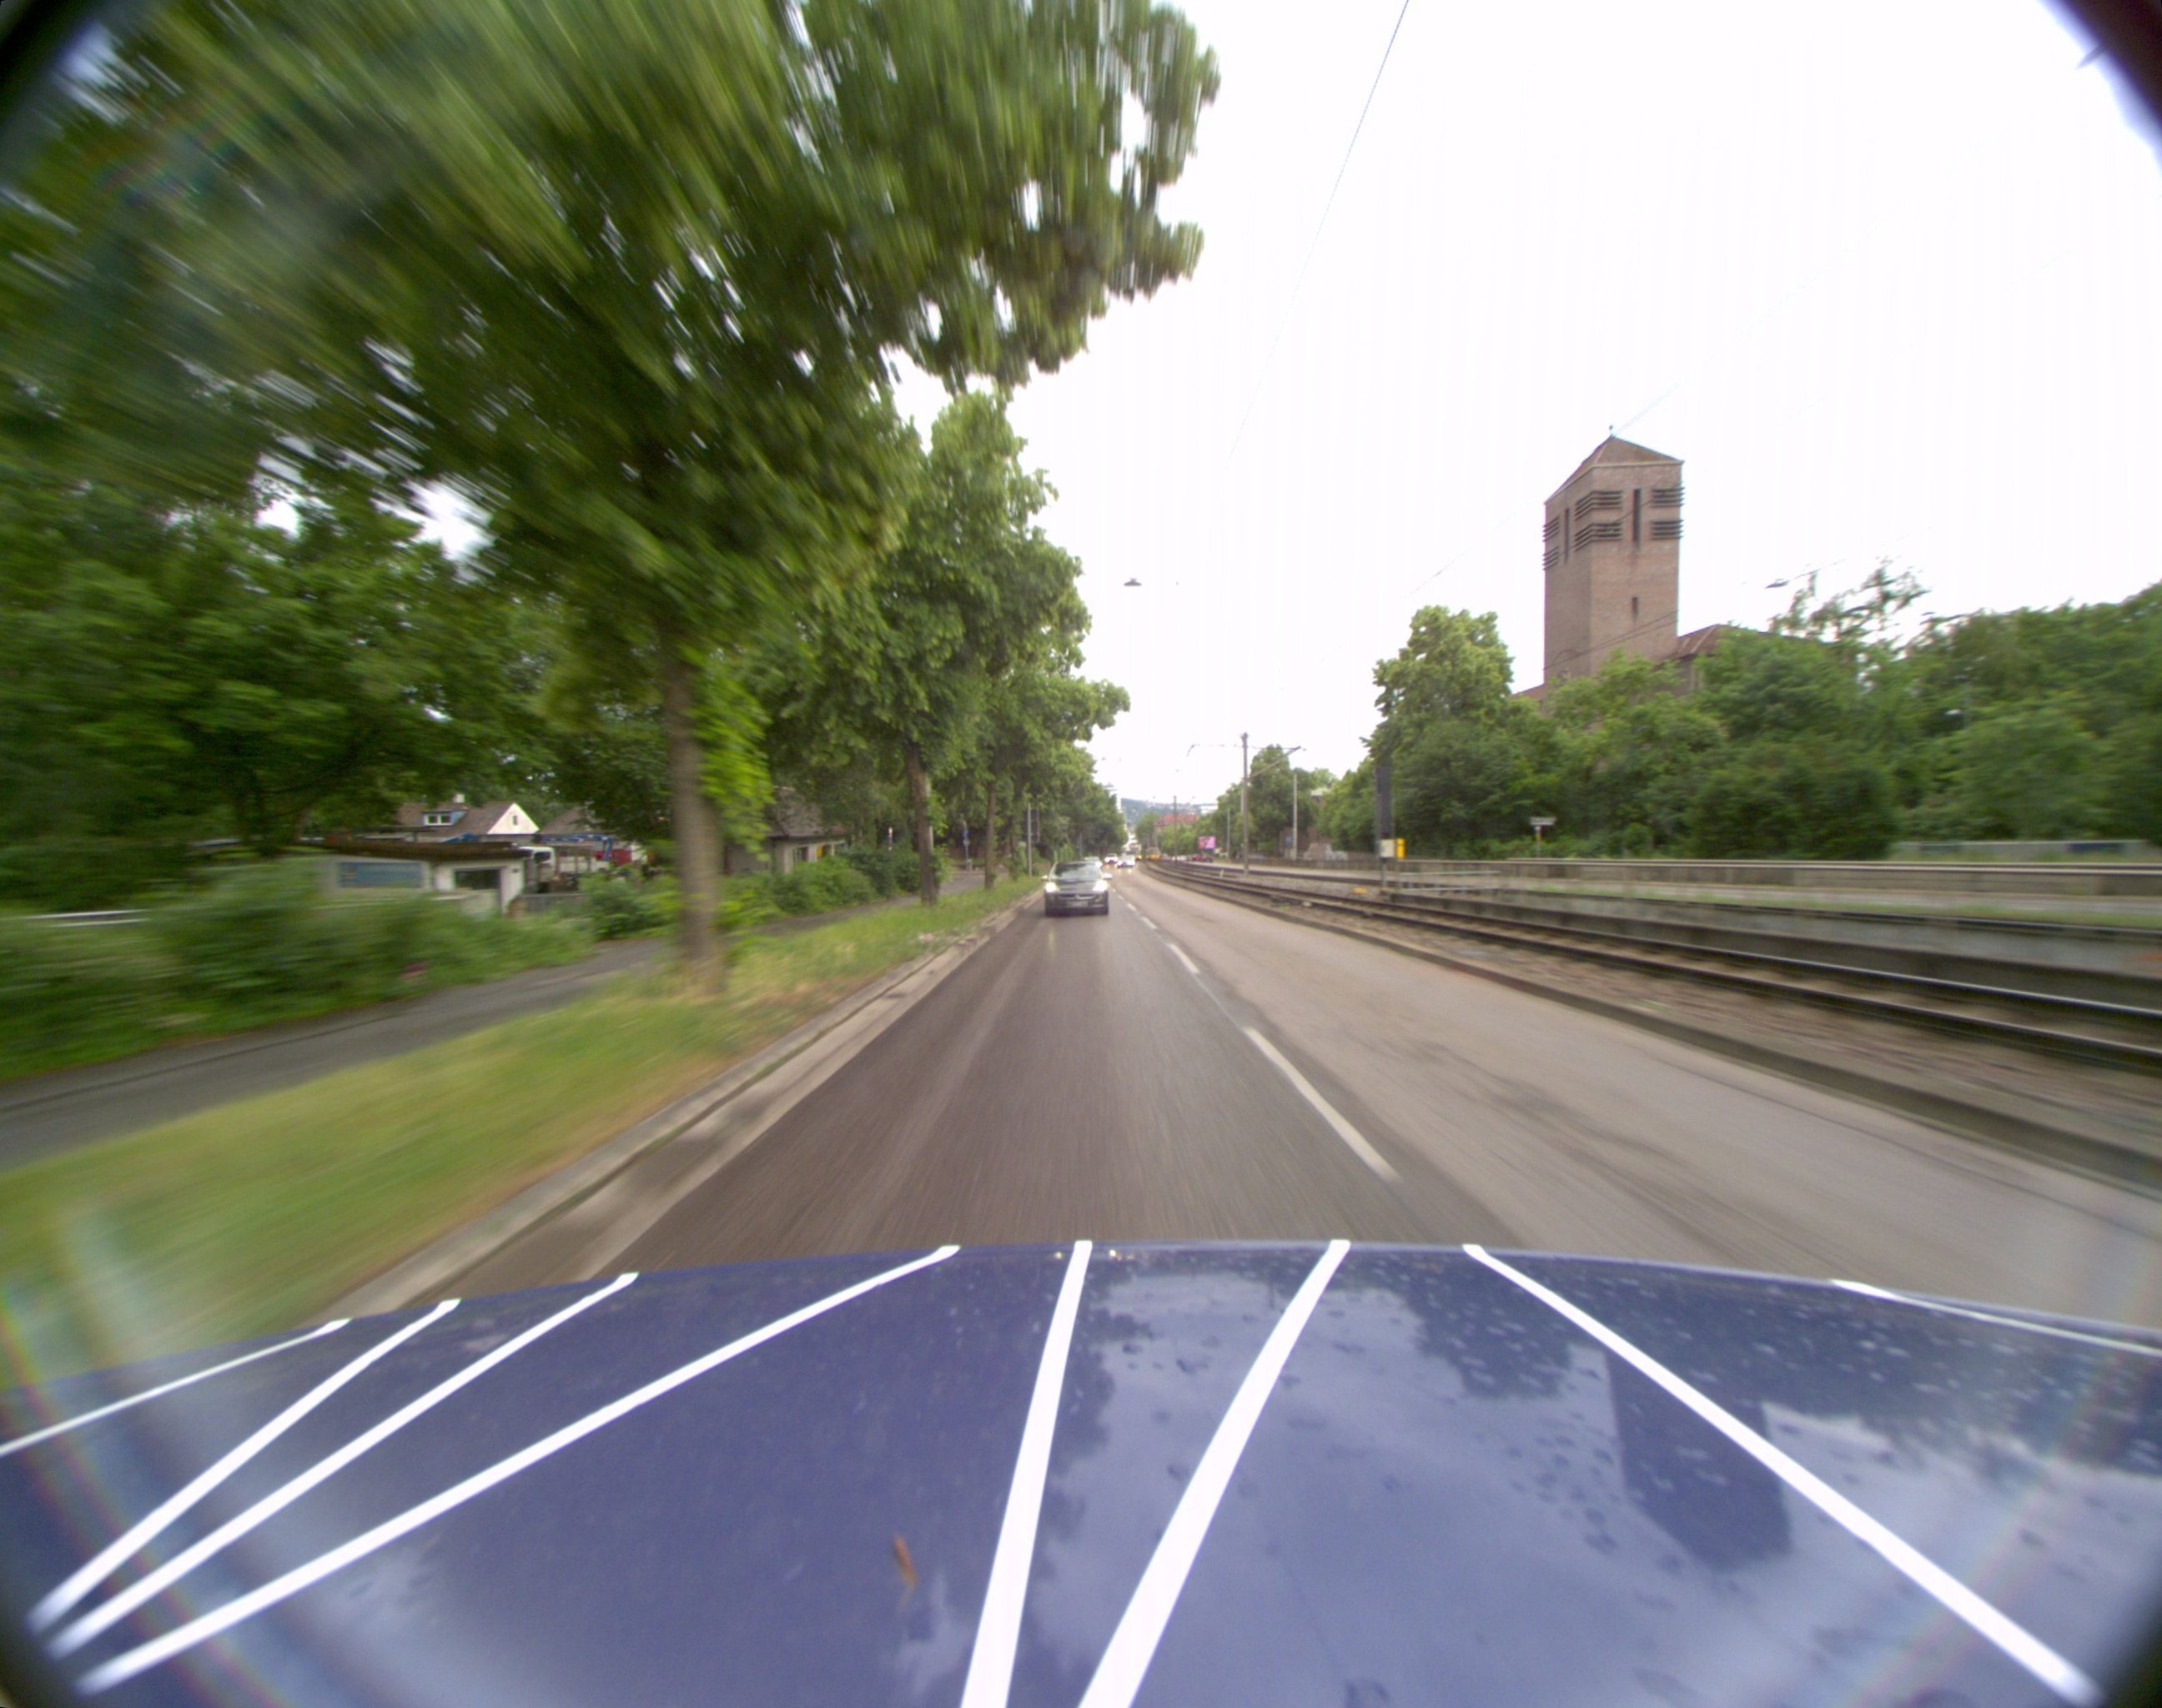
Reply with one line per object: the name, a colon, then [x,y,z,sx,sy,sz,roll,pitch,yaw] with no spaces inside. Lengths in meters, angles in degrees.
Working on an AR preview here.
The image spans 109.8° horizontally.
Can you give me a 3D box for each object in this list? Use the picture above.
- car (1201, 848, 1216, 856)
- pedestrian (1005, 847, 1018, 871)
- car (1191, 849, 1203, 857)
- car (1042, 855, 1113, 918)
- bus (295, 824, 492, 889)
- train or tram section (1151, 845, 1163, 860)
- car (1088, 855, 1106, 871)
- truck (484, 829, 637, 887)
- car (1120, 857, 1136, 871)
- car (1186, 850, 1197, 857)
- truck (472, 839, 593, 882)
car: [22.399,-0.321,133.115,1.970,1.433,4.322,0,0,1]
pedestrian: [-5.271,0.376,57.452,0.856,1.843,0.737,-1,1,5]
car: [24.316,-0.195,159.087,1.998,1.634,4.525,1,0,2]
car: [-0.026,0.843,21.624,1.746,1.544,4.494,-3,0,1]
bus: [-31.778,0.098,35.634,2.256,2.685,7.170,-1,0,5]
train or tram section: [21.164,-0.293,211.852,2.834,3.952,17.881,-1,0,4]
car: [1.578,0.914,76.500,1.769,1.502,4.341,-1,0,0]
truck: [-27.956,0.189,41.185,2.055,2.851,6.617,-1,0,25]
car: [5.593,1.154,89.779,1.768,1.502,4.343,-1,0,6]
car: [25.438,-0.115,174.689,1.998,1.634,4.412,1,0,3]
truck: [-32.950,0.390,45.779,5.409,2.168,2.221,-4,0,-3]
